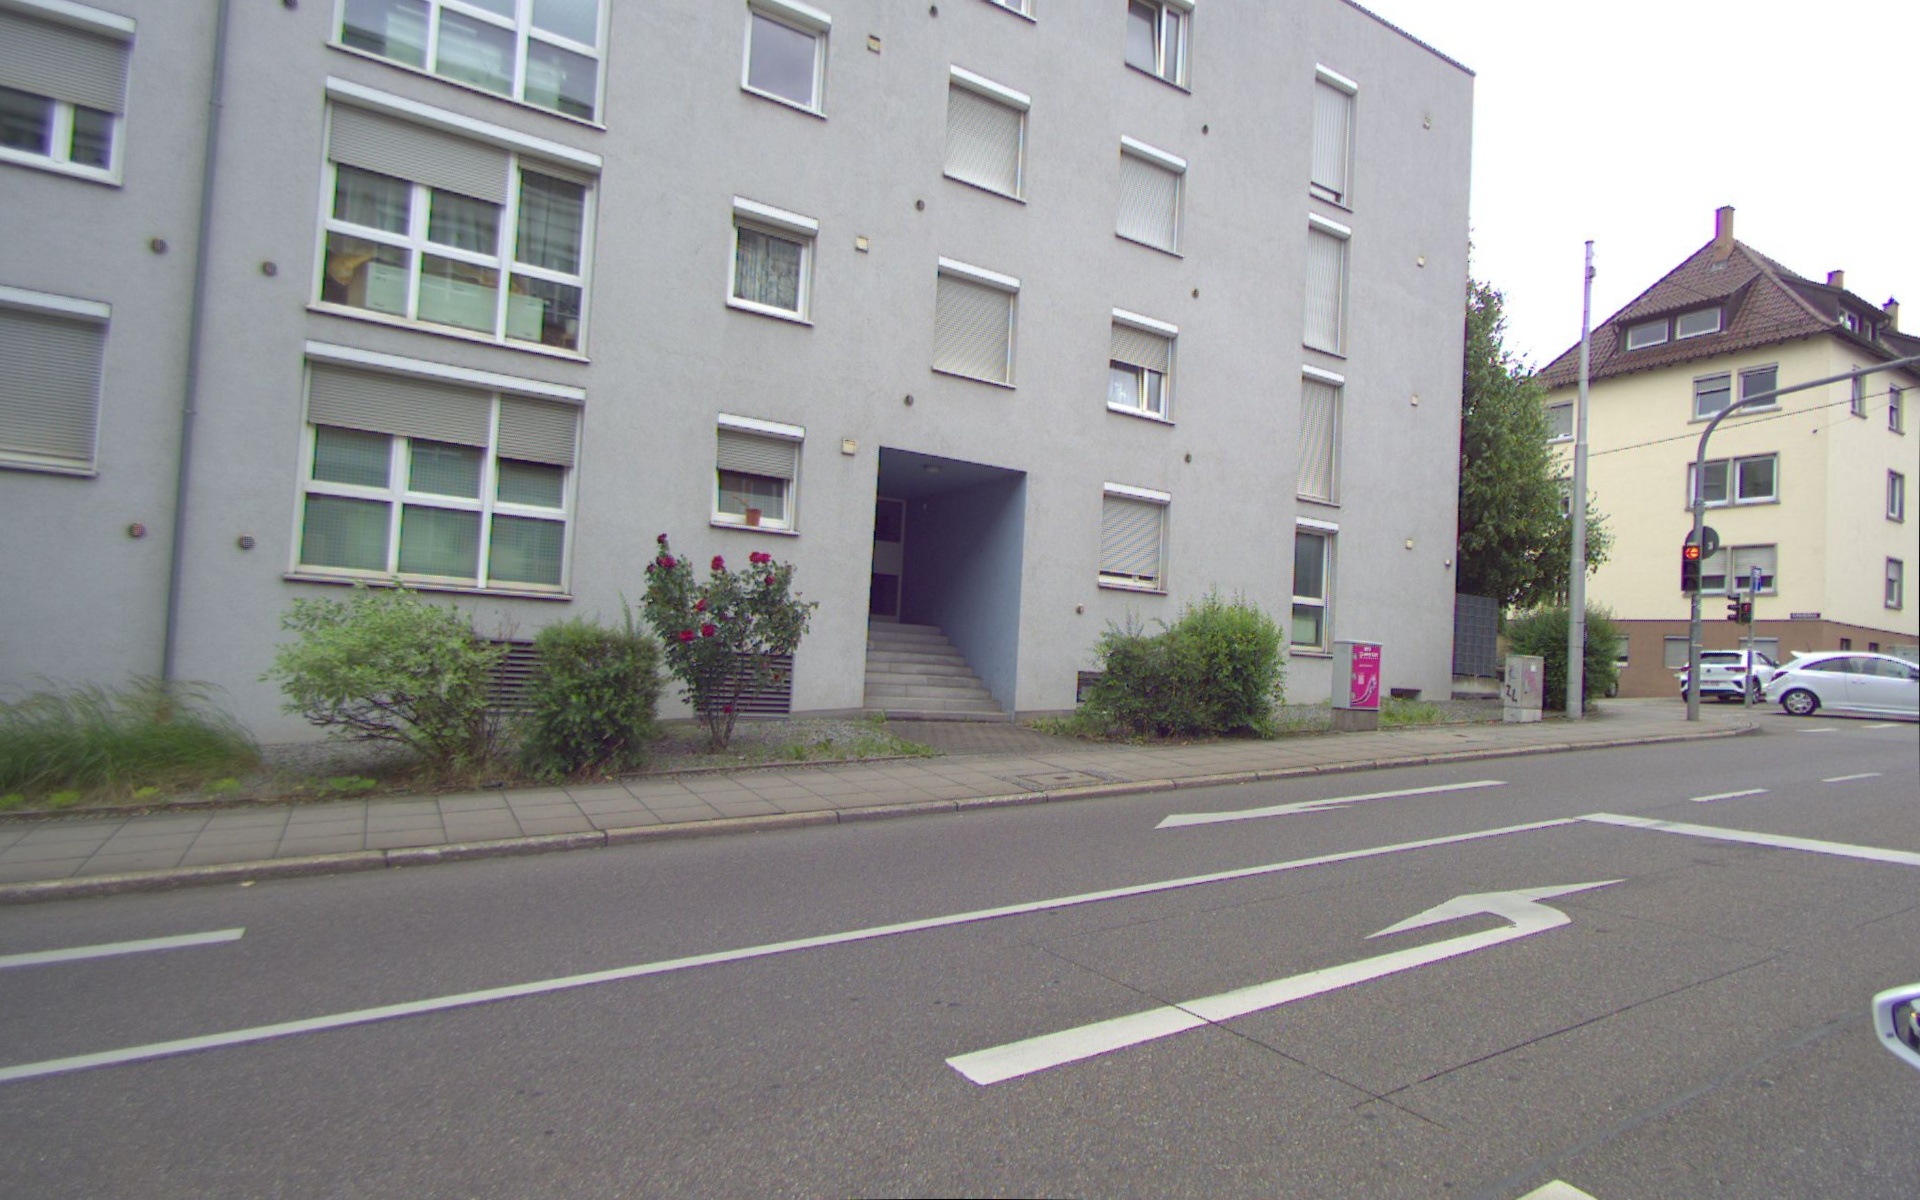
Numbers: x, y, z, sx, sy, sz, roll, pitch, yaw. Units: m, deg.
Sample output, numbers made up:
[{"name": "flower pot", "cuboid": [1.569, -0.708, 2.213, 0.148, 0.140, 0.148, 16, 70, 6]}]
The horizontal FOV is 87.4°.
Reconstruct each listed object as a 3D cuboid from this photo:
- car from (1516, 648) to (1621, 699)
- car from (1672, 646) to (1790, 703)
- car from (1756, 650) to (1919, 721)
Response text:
[{"name": "car", "cuboid": [20.930, 2.482, 34.526, 3.727, 1.629, 1.681, 1, -4, -34]}, {"name": "car", "cuboid": [23.043, 2.195, 29.992, 3.727, 1.575, 1.681, 1, -4, -34]}, {"name": "car", "cuboid": [19.925, 1.829, 21.833, 4.011, 1.411, 1.687, -1, -3, 43]}]
